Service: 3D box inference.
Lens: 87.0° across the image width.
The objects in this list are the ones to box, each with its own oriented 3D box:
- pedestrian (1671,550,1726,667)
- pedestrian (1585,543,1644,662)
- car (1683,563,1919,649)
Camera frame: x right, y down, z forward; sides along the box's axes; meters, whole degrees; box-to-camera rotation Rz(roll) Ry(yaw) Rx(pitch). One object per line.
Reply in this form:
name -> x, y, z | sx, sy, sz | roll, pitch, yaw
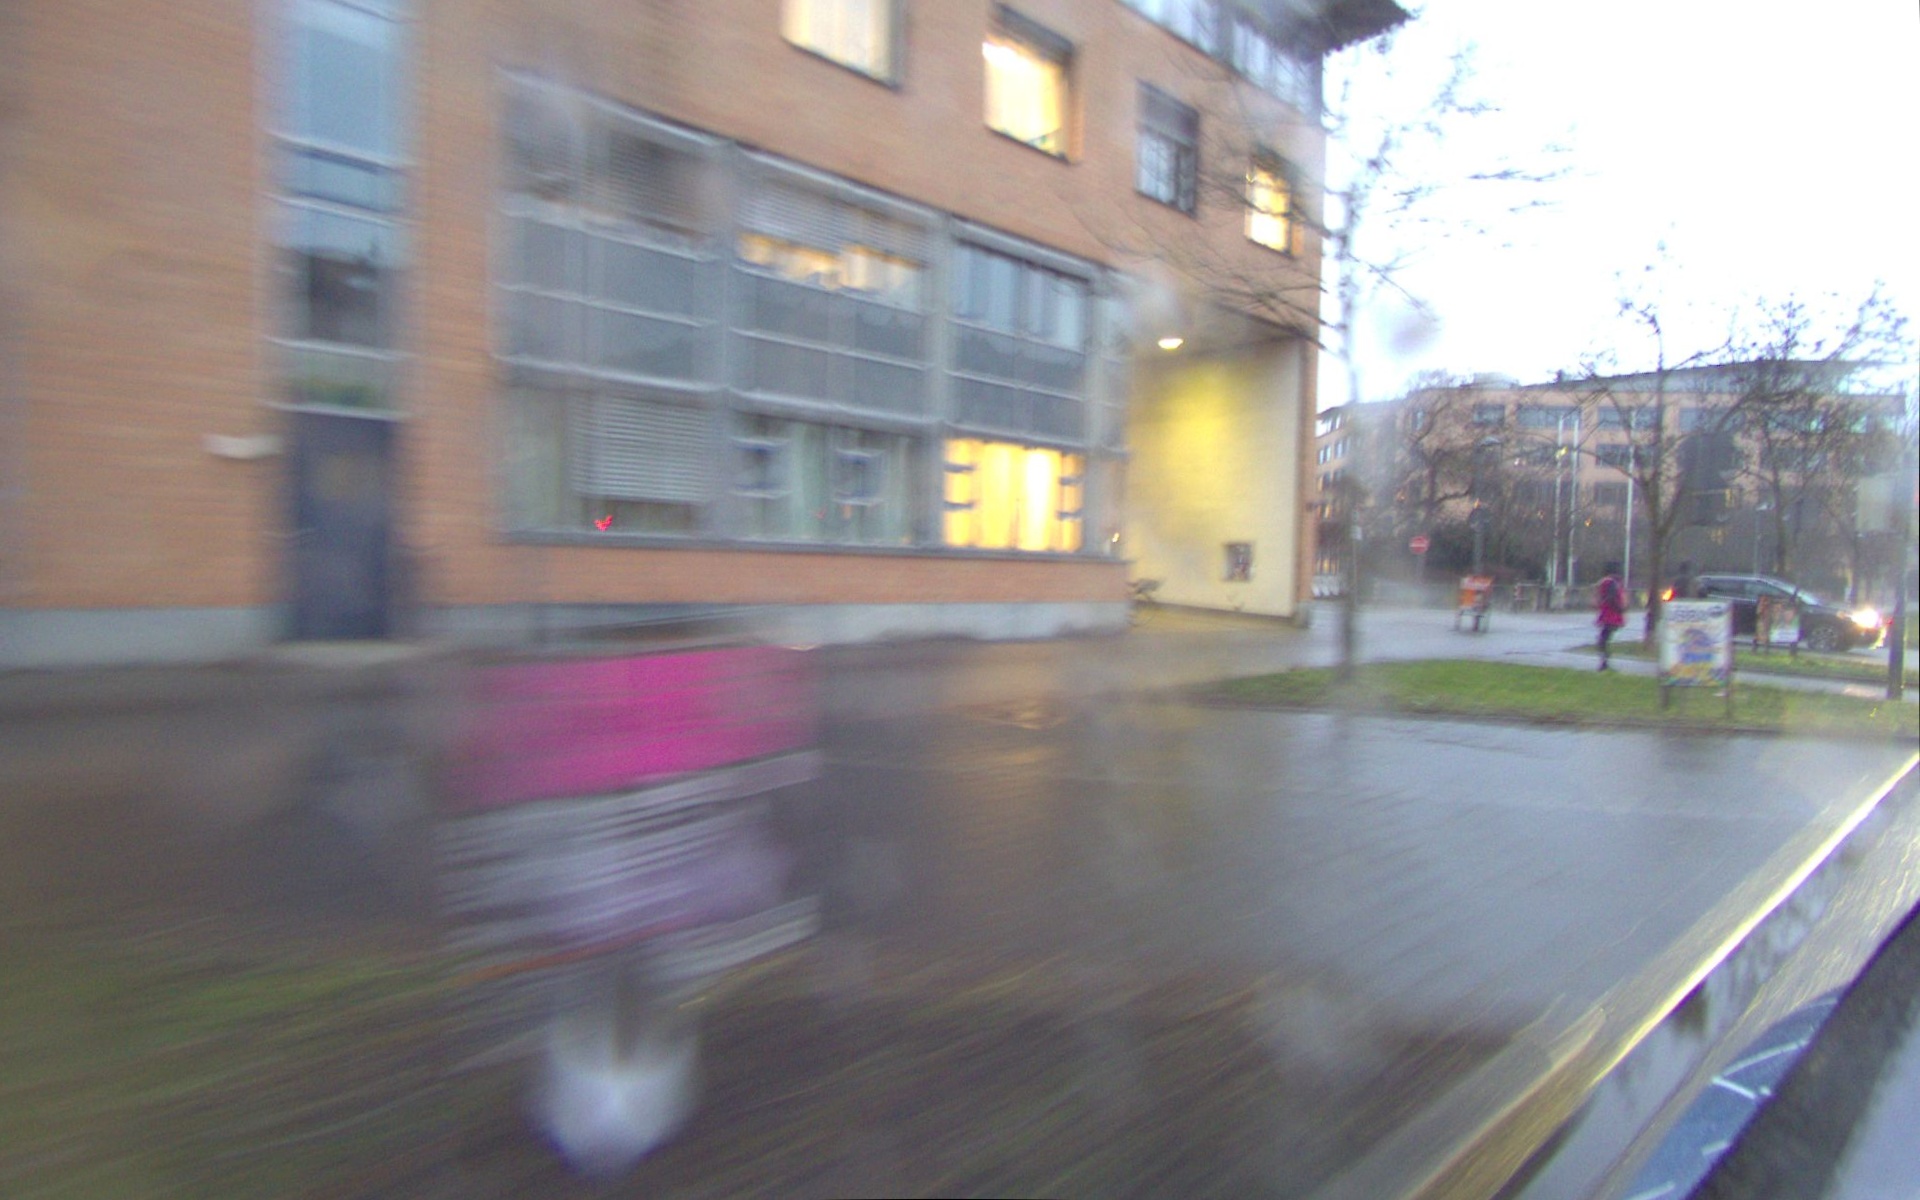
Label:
pedestrian -> 12.083, 0.125, 16.578 | 0.500, 1.846, 0.653 | 3, 2, 23
pedestrian -> 10.033, 0.020, 15.541 | 0.499, 1.763, 0.654 | 3, 2, 16
car -> 18.808, 0.064, 22.564 | 1.711, 1.574, 3.998 | 0, 4, -39
